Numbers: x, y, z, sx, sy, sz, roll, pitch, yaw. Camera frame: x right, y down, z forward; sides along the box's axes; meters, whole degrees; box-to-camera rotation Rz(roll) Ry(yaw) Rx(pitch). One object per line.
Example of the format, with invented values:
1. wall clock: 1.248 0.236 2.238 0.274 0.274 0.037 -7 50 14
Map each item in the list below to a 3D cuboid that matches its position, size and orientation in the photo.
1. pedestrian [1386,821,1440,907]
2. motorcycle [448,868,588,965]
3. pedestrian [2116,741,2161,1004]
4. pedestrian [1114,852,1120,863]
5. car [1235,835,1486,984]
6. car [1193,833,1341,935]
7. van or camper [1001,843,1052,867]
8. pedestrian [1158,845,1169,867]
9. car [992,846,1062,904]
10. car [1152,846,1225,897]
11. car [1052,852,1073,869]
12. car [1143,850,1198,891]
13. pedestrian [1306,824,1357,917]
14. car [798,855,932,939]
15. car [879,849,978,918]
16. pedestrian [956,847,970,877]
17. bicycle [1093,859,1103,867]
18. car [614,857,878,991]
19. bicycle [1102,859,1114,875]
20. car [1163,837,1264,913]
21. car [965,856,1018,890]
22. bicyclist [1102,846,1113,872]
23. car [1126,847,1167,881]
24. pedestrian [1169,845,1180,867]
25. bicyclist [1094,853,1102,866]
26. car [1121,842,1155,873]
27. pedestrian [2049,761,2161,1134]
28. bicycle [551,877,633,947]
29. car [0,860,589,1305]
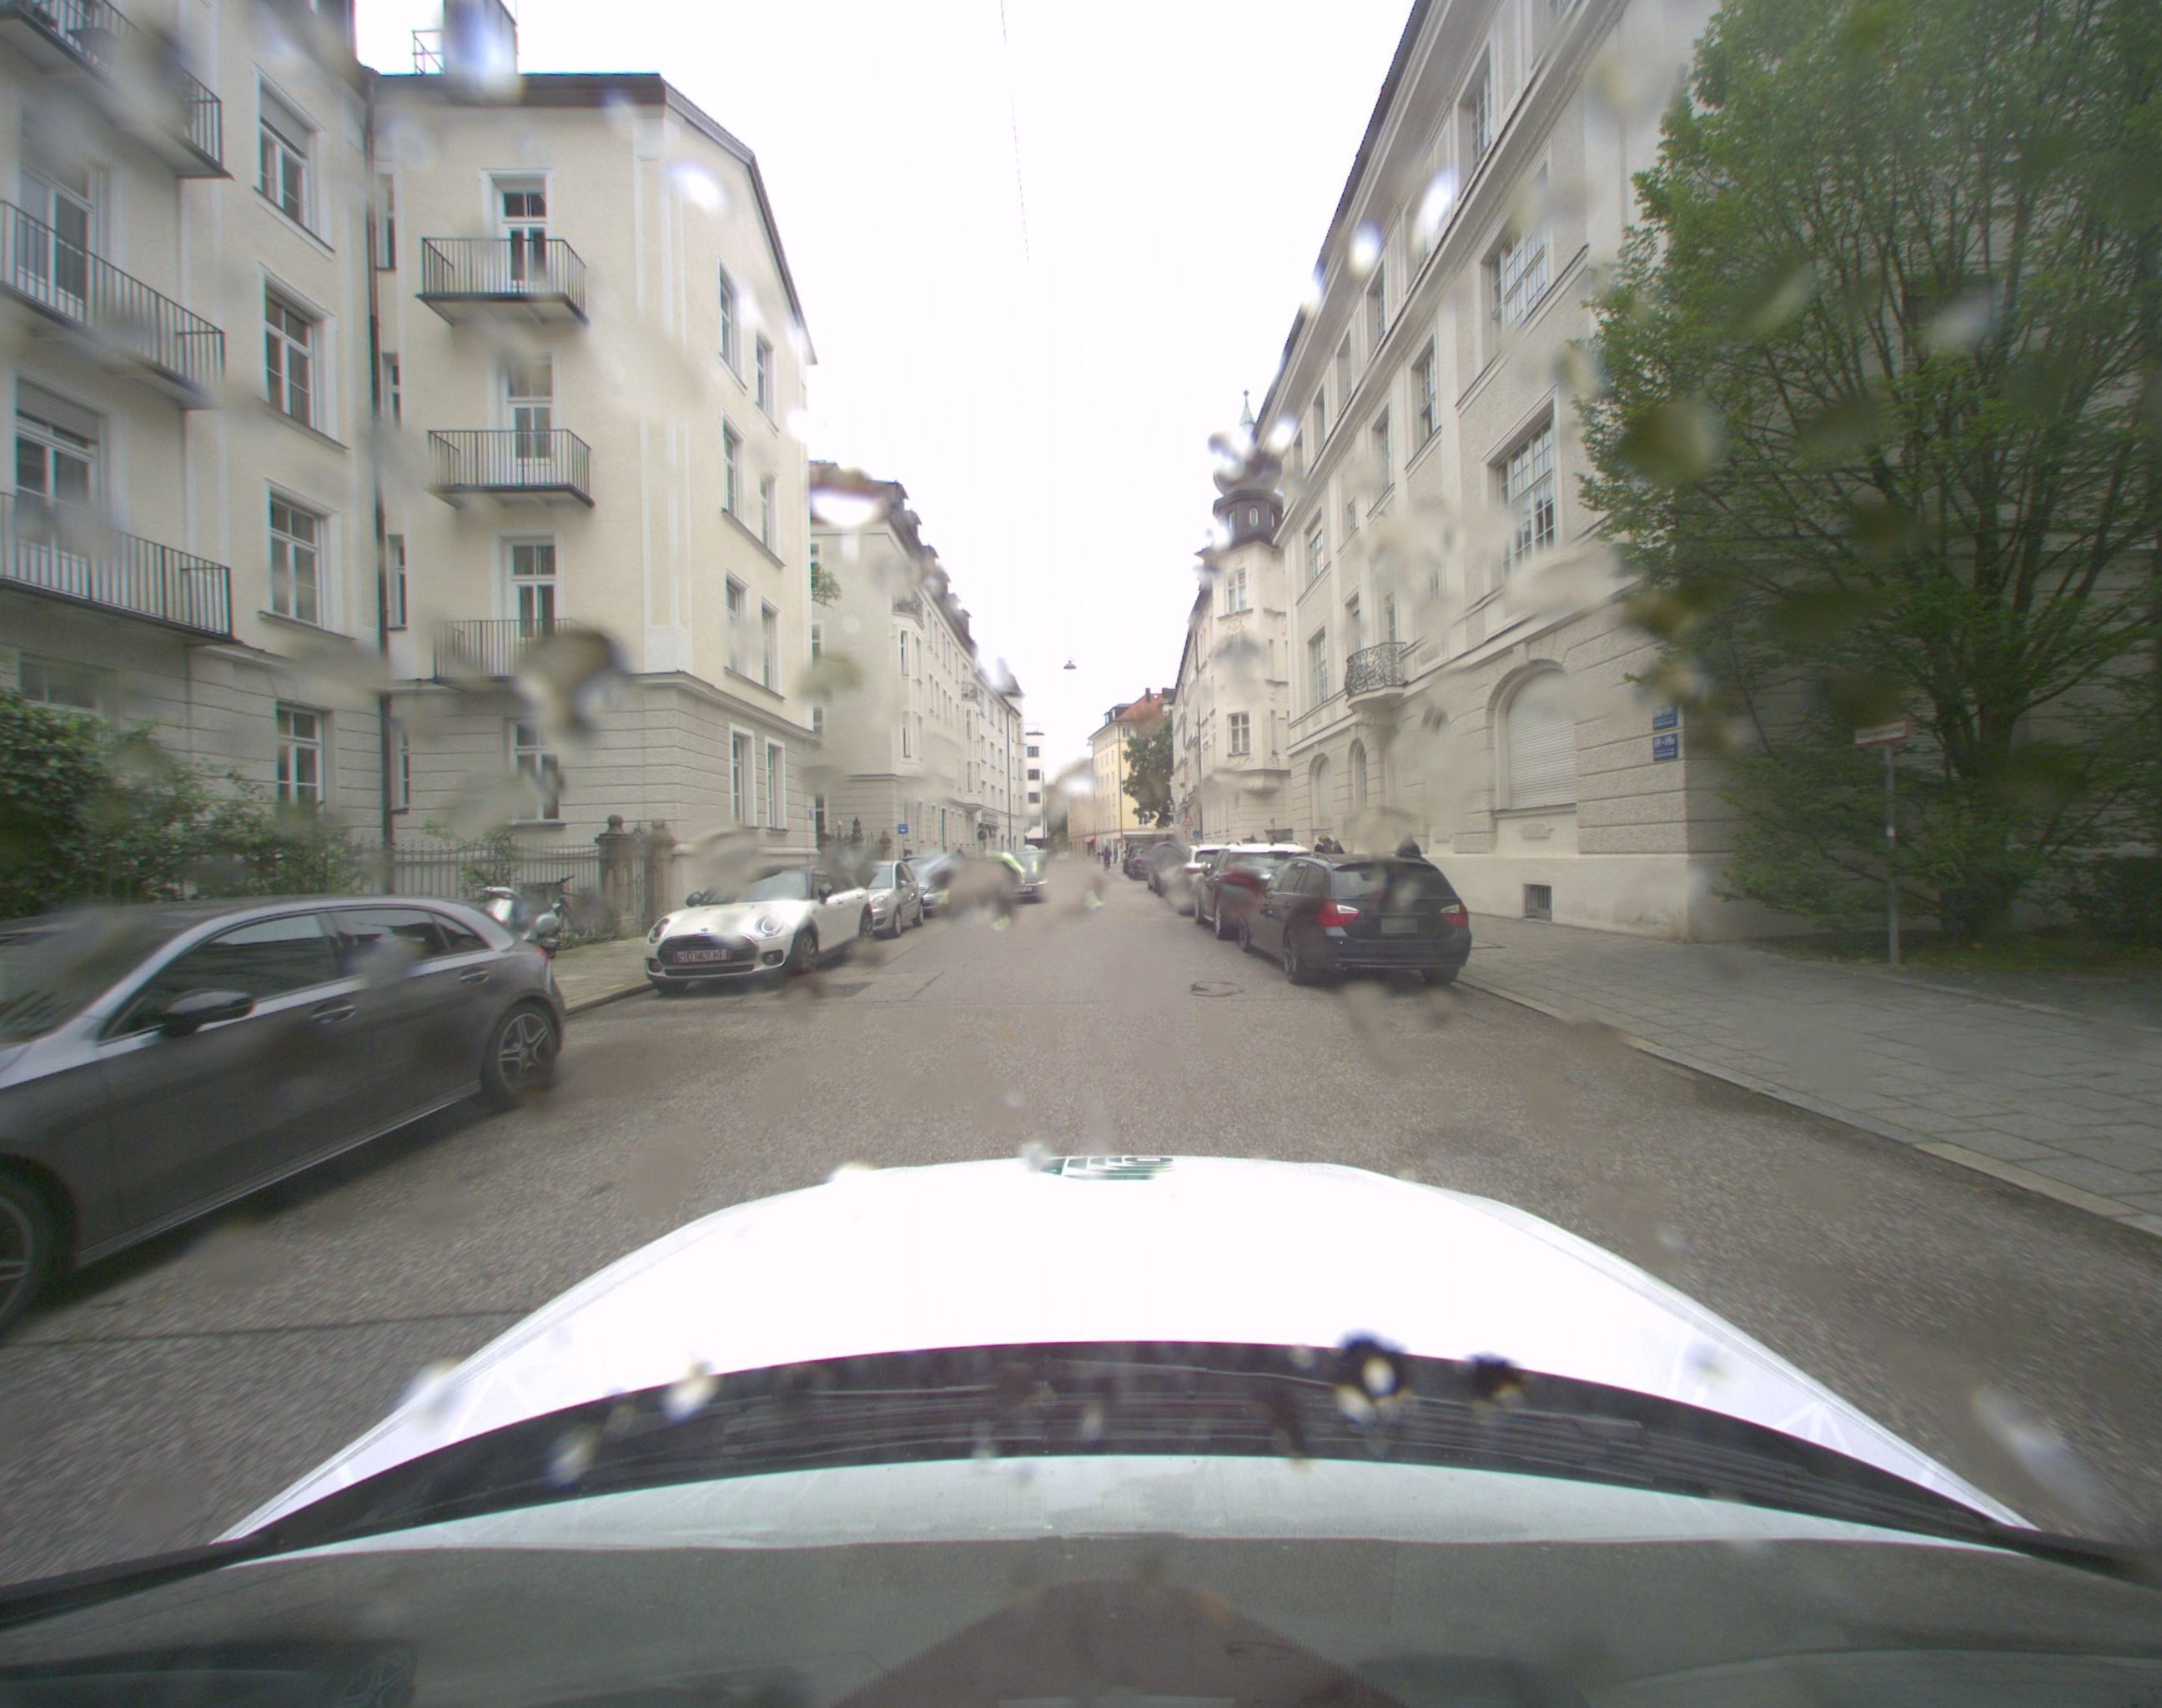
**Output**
1. pedestrian: 6.733 0.188 16.551 0.680 1.679 0.812 -3 0 0
2. motorcycle: -7.936 0.839 11.596 0.702 1.249 1.820 1 -1 0
3. pedestrian: 7.706 0.123 5.385 0.879 1.769 0.672 -1 0 -1
4. pedestrian: 4.520 0.444 103.154 0.695 1.270 0.652 -2 0 5
5. car: 3.127 0.518 10.056 1.705 1.452 4.225 0 1 1
6. car: 3.092 0.451 14.403 1.742 1.525 4.171 0 0 1
7. van or camper: -6.420 0.139 96.382 5.899 2.677 1.868 -1 -2 -7
8. pedestrian: 6.420 0.161 63.222 0.701 1.728 0.703 -2 0 -2
9. car: -1.585 0.606 25.053 1.718 1.533 4.086 -3 0 1
10. car: 3.307 0.509 25.737 1.703 1.501 3.997 0 0 -2
11. car: -1.824 0.663 80.243 1.670 1.597 3.948 -3 -1 3
12. car: 3.225 0.576 29.951 1.607 1.395 4.000 1 0 0
13. pedestrian: 4.999 0.310 16.279 0.679 1.775 0.855 -3 0 2
14. car: -4.185 0.759 16.399 1.640 1.403 3.997 -3 0 -2
15. car: -3.944 0.703 21.719 1.690 1.580 4.063 -3 0 1
16. pedestrian: -6.849 0.470 47.261 0.696 1.707 0.665 0 0 -2
17. bicycle: 2.123 1.096 101.571 0.848 1.001 2.160 0 0 -13
18. car: -4.136 0.767 10.869 1.791 1.435 4.080 -1 0 0
19. bicycle: 1.703 0.824 51.612 0.636 1.004 1.576 -1 0 5
20. car: 3.121 0.417 19.990 1.888 1.636 4.393 -1 1 2
21. car: -3.819 0.773 35.482 1.844 1.367 4.699 -1 0 -1
22. bicyclist: 1.694 0.304 51.620 0.603 1.606 0.758 -1 0 5
23. car: 3.282 0.463 41.224 1.702 1.588 3.999 1 0 -1
24. pedestrian: 7.287 0.126 63.704 0.678 1.674 0.654 -3 0 -2
25. bicyclist: 2.088 0.723 101.696 0.782 1.637 0.972 0 0 -13
26. car: 3.663 0.239 53.137 1.904 1.885 4.715 1 0 1
27. pedestrian: 5.217 0.385 3.670 0.856 1.657 0.859 -5 0 -28
28. bicycle: -8.205 0.951 13.722 0.430 1.061 1.421 3 0 2
29. car: -4.333 0.773 3.667 1.730 1.365 4.190 -3 0 -2
